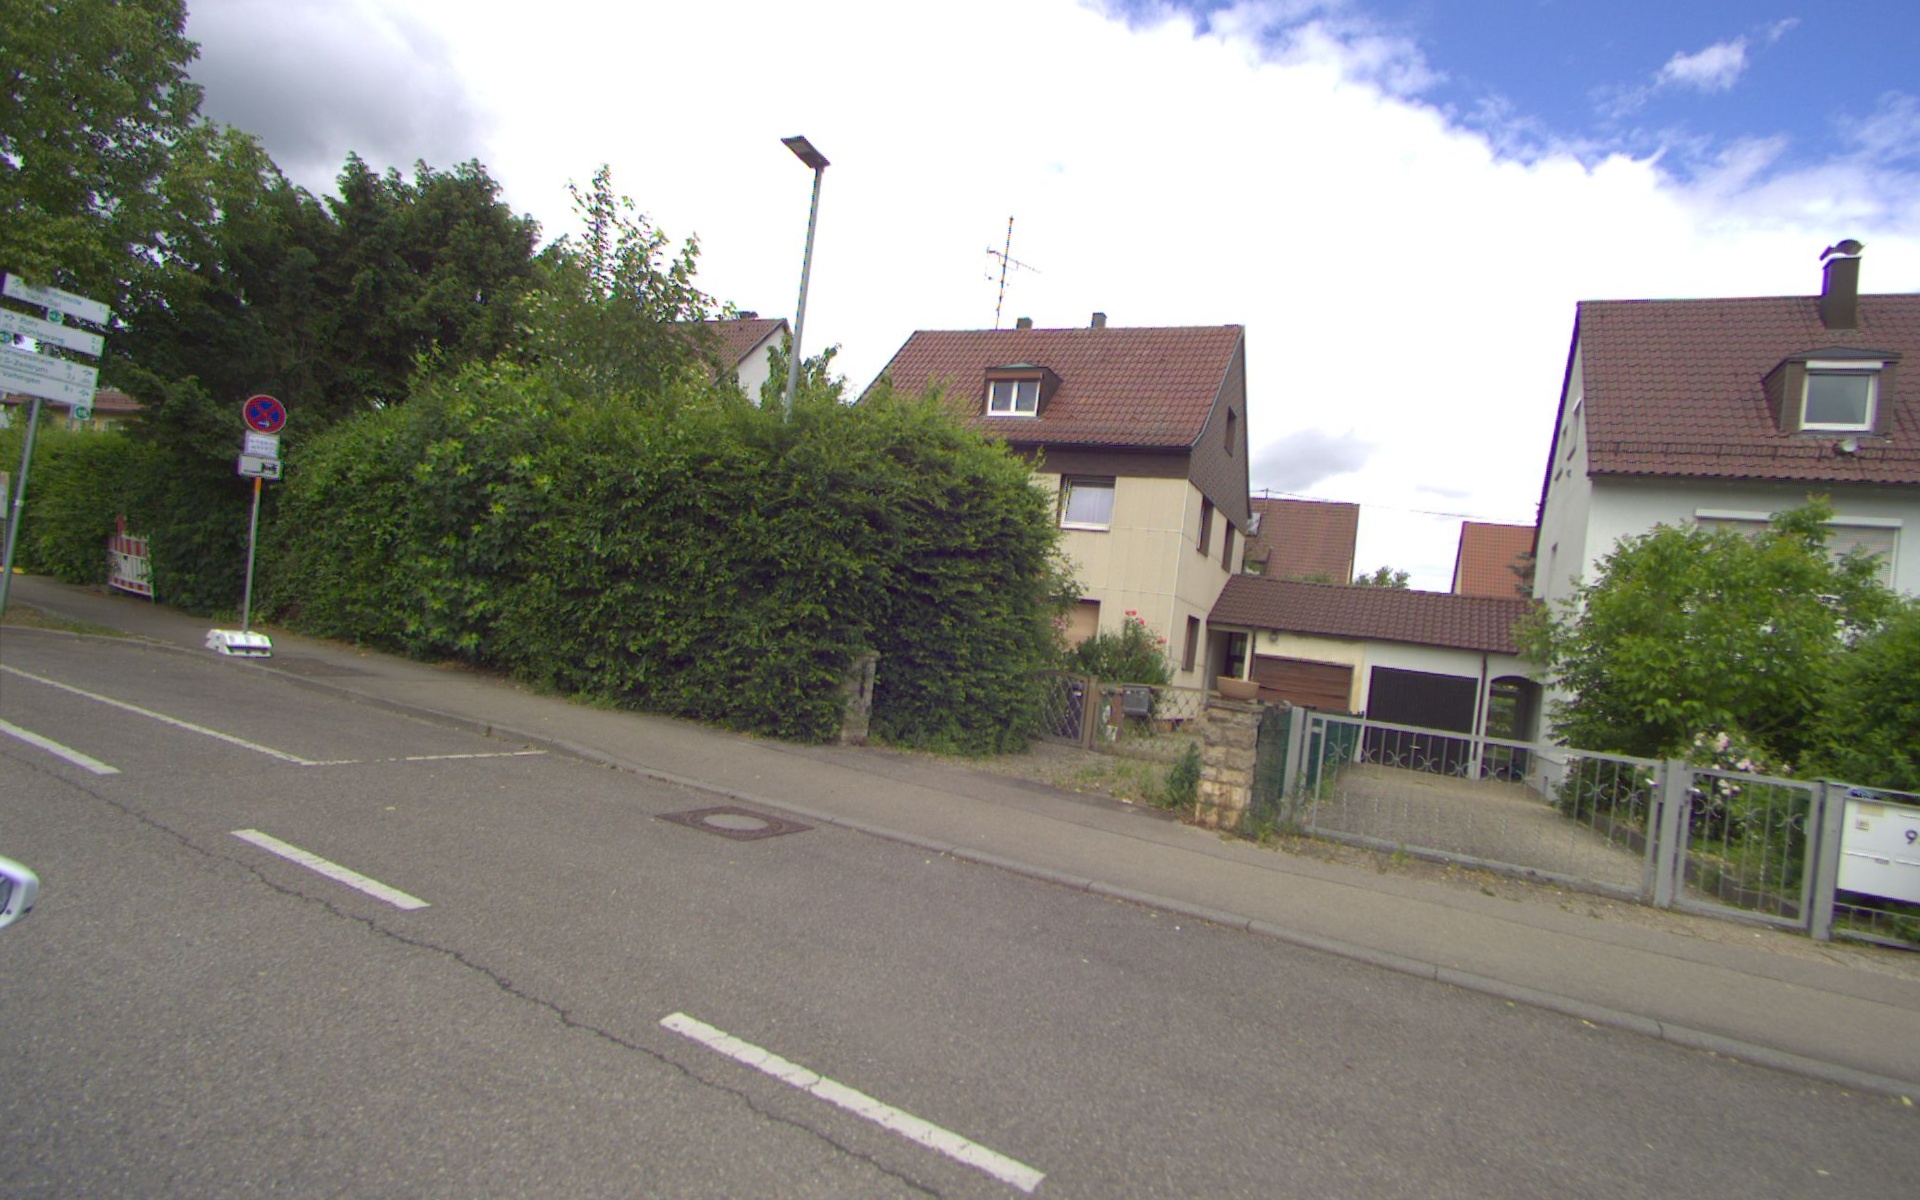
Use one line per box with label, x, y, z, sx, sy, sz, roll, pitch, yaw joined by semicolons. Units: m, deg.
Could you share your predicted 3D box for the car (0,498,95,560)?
car;-32.161;-2.550;33.710;1.622;1.679;4.410;7;-3;29
